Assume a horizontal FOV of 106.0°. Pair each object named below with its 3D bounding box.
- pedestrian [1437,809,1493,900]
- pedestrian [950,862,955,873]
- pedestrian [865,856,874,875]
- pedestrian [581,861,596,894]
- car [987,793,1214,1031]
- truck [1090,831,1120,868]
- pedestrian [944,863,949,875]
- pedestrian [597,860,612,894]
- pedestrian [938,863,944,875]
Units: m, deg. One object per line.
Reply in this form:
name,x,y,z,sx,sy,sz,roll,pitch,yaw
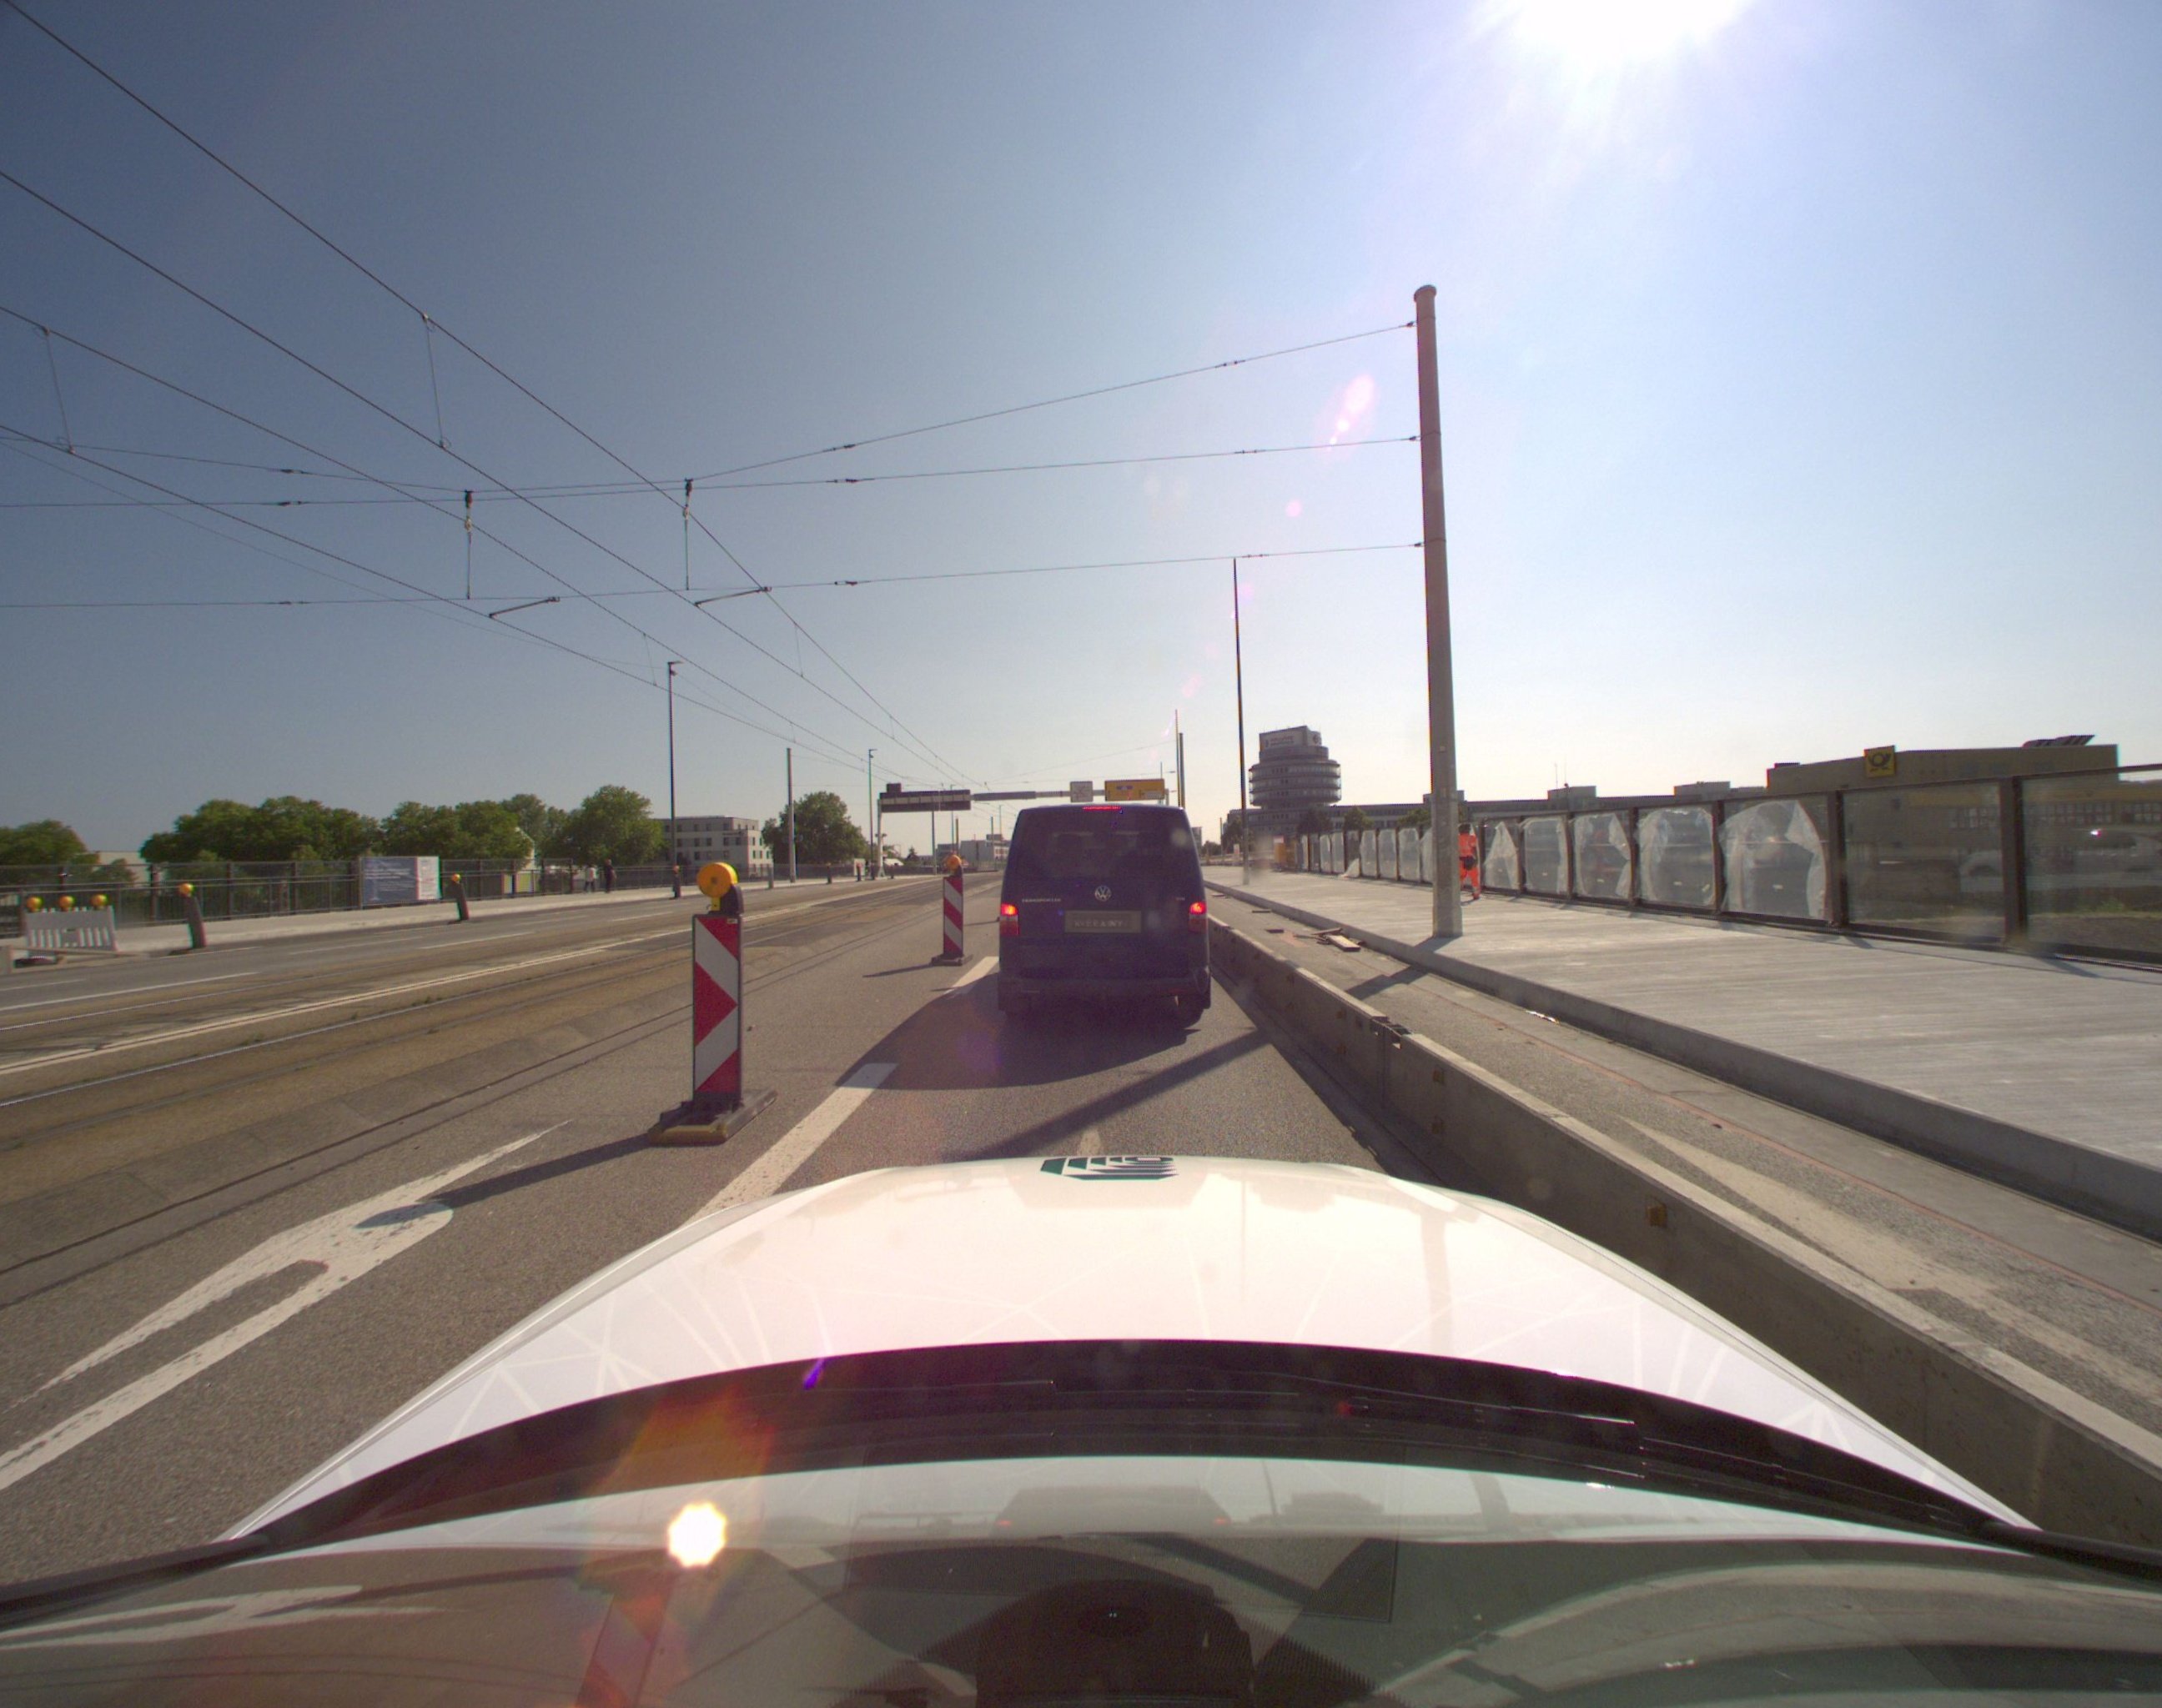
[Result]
pedestrian,8.505,0.008,18.075,0.779,1.935,0.800,-3,-1,1
pedestrian,-19.363,2.077,122.418,0.631,1.598,0.752,-1,0,1
pedestrian,-20.893,1.108,80.331,0.631,1.893,0.752,-1,0,1
pedestrian,-25.414,1.203,42.000,0.493,1.694,0.474,0,-1,1
car,0.331,0.477,8.655,1.807,1.905,4.060,-1,0,5
truck,2.201,-0.471,75.187,2.451,3.134,11.220,-2,1,2
pedestrian,-19.739,2.225,119.600,0.631,1.774,0.752,-1,0,1
pedestrian,-24.447,1.183,41.773,0.493,1.694,0.474,0,-1,1
pedestrian,-20.553,2.233,119.509,0.632,1.752,0.752,-1,0,1
